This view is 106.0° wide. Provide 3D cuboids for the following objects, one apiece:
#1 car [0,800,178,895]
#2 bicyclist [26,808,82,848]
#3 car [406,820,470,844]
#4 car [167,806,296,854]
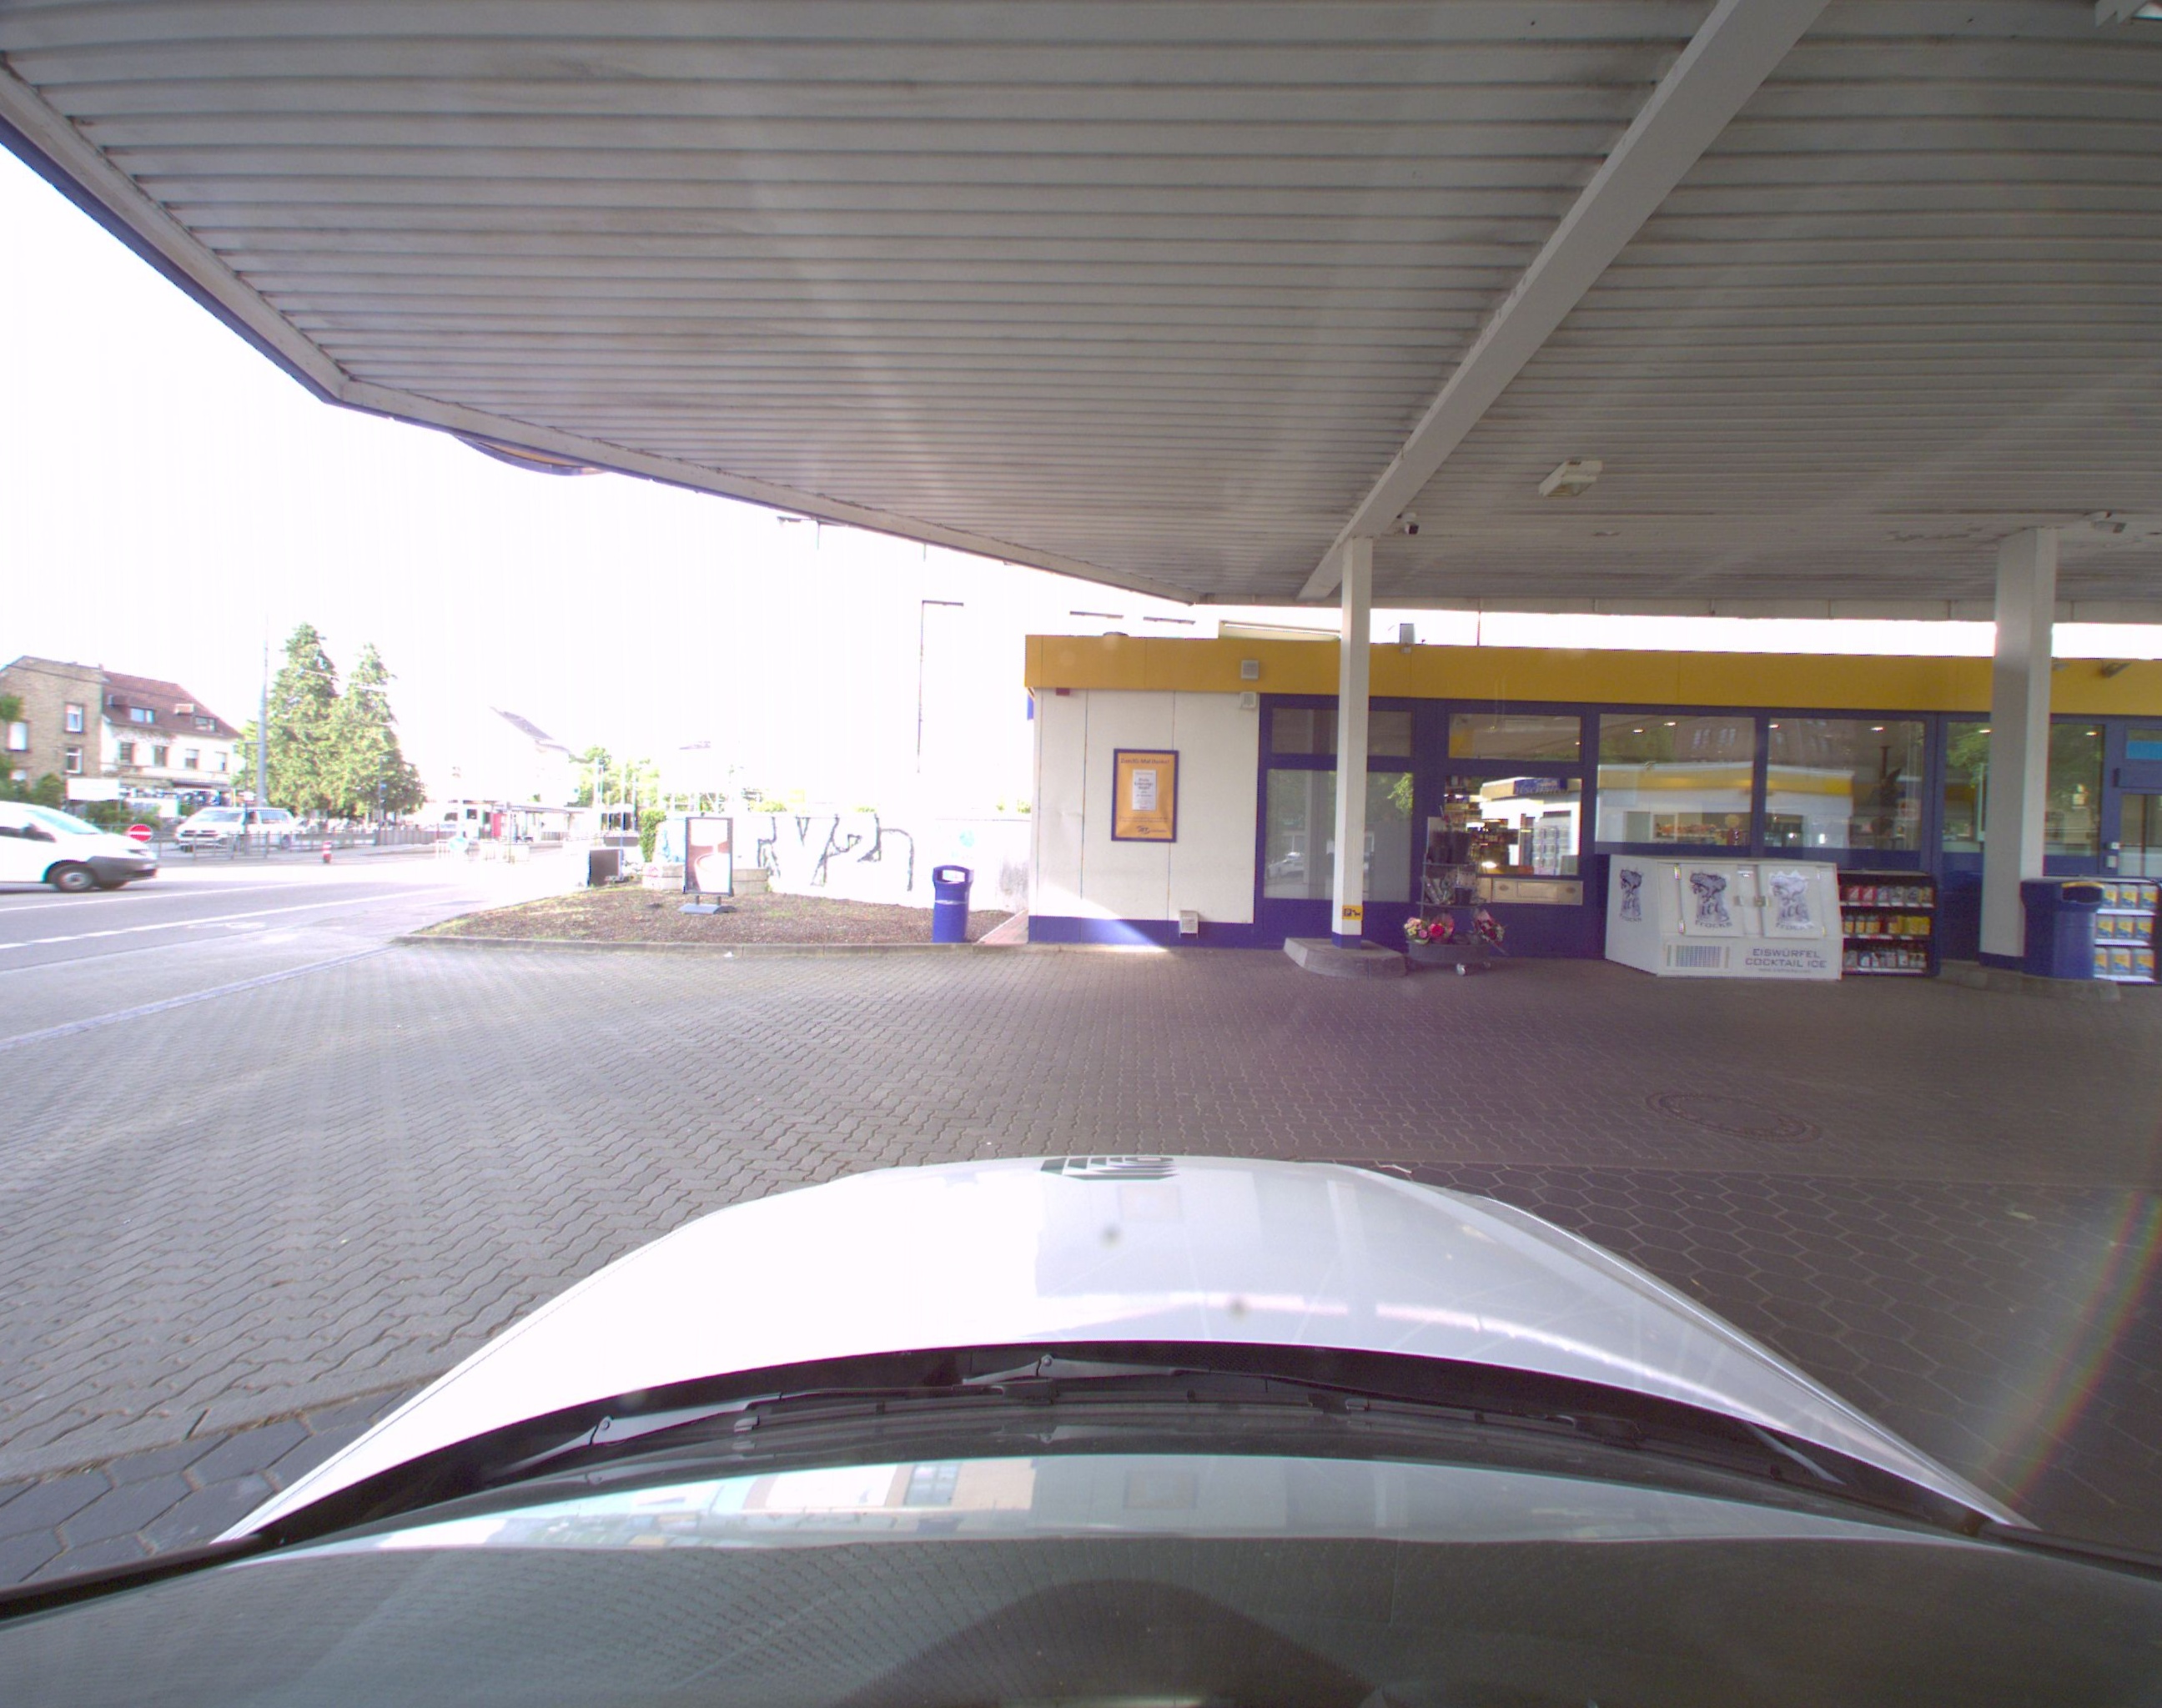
[{"bbox_3d":[-22.194,-0.152,16.734,4.422,1.889,1.951,1,0,-28],"label":"car"},{"bbox_3d":[-41.218,-1.038,32.697,0.781,1.492,1.099,4,0,11],"label":"bicyclist"},{"bbox_3d":[-43.032,-1.485,54.622,1.839,1.576,4.358,0,2,-16],"label":"car"},{"bbox_3d":[-37.650,-1.069,36.286,2.000,1.968,4.857,1,2,-20],"label":"car"}]
